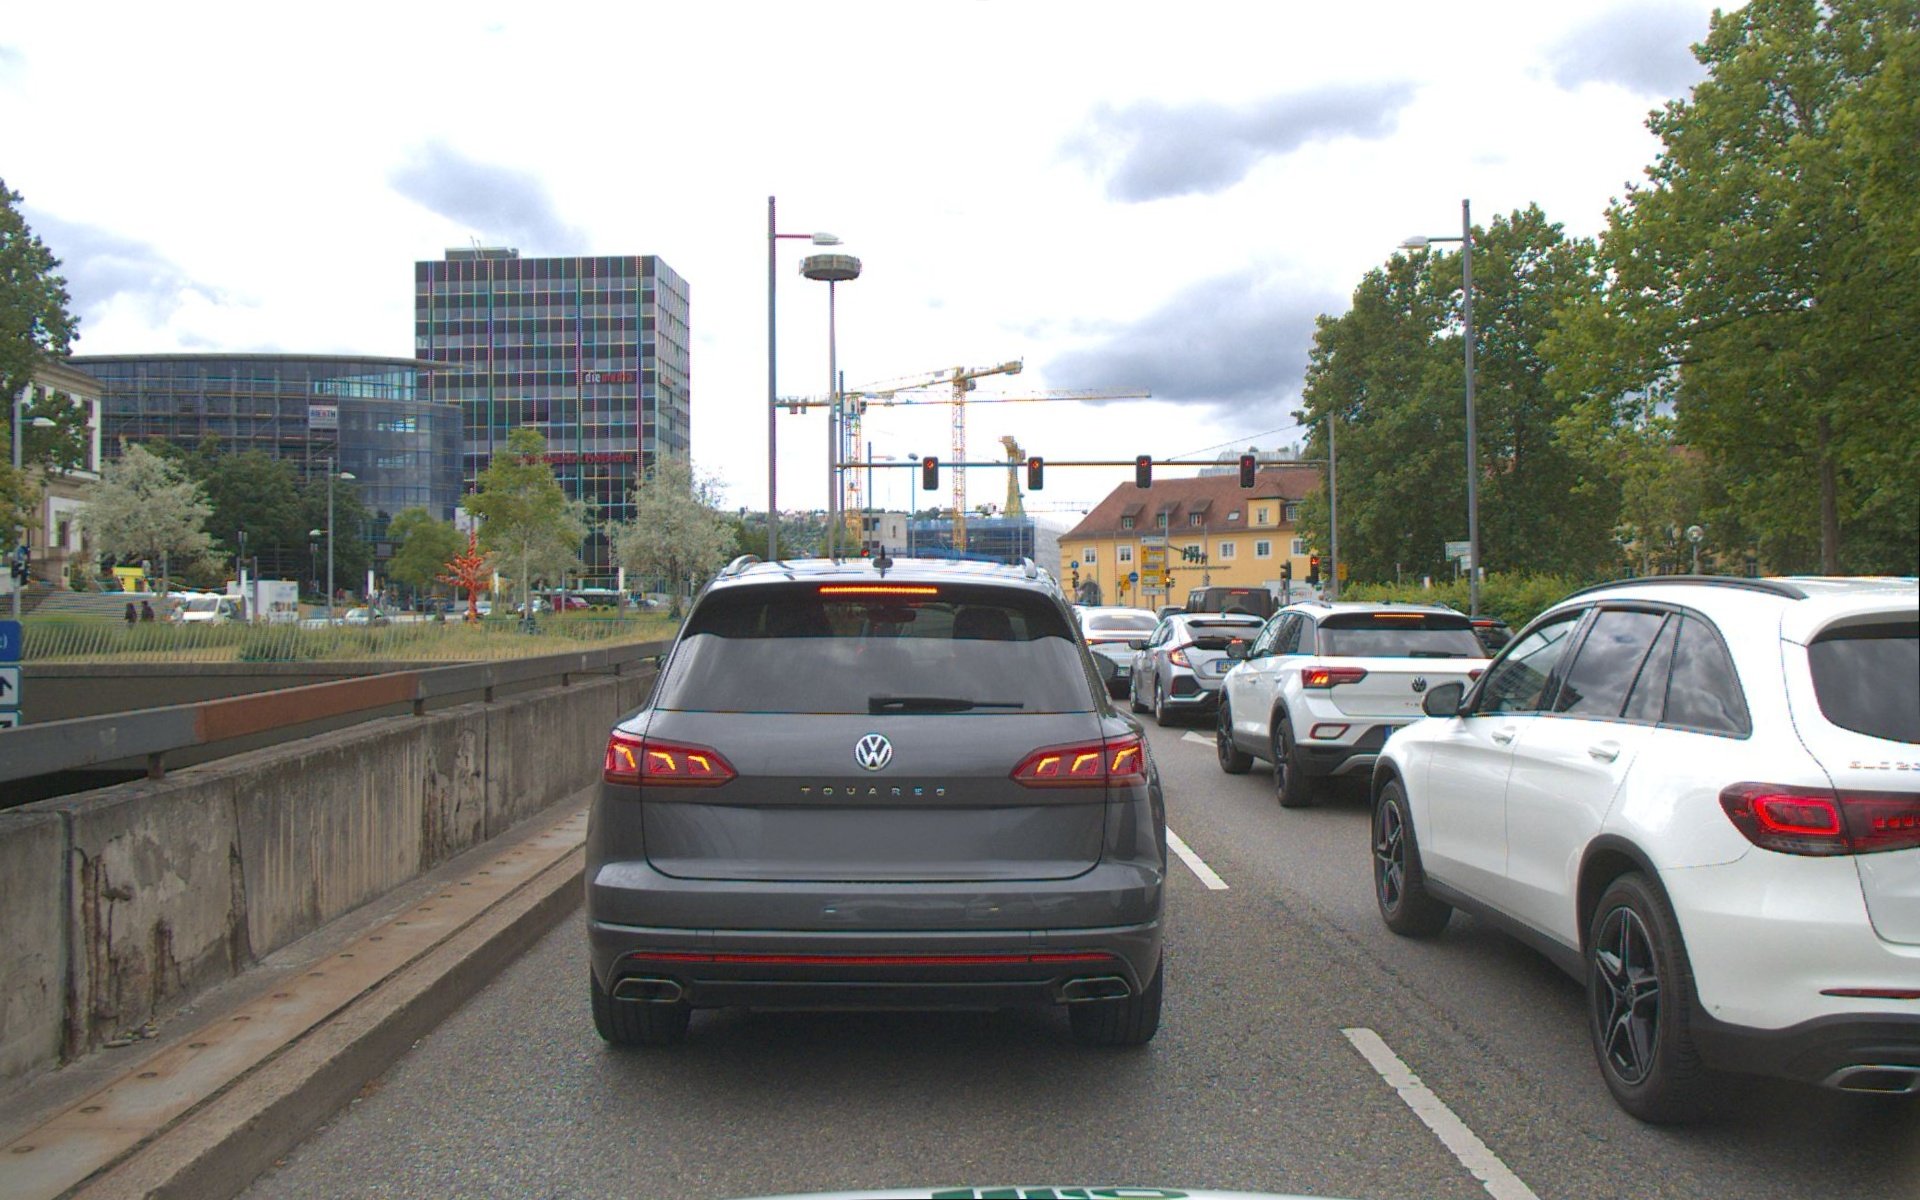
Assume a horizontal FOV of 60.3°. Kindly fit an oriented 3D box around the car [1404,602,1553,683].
[{"bbox_3d":[10.285,0.844,33.128,1.891,1.485,4.529,1,-1,5],"label":"car"}]

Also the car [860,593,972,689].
[{"bbox_3d":[-0.803,0.725,31.002,1.912,1.628,3.930,2,0,-1],"label":"car"}]

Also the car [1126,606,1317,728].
[{"bbox_3d":[3.383,0.838,22.236,1.887,1.457,4.489,0,-1,0],"label":"car"}]

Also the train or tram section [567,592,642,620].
[{"bbox_3d":[-40.602,0.692,188.760,8.750,3.062,2.593,1,-2,28],"label":"train or tram section"}]

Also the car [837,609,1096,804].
[{"bbox_3d":[0.018,0.811,14.385,1.912,1.408,3.930,2,0,-1],"label":"car"}]

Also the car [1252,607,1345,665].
[{"bbox_3d":[9.343,0.981,45.908,1.722,1.472,3.632,2,-1,-2],"label":"car"}]

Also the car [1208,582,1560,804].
[{"bbox_3d":[3.381,0.698,14.121,1.887,1.578,4.489,0,-1,0],"label":"car"}]

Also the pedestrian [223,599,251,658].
[{"bbox_3d":[-25.589,1.009,58.542,0.716,2.047,0.628,-1,4,-8],"label":"pedestrian"}]

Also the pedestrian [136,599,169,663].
[{"bbox_3d":[-26.410,1.008,54.101,0.777,2.049,0.833,-1,0,-15],"label":"pedestrian"}]

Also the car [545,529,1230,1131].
[{"bbox_3d":[-0.232,0.652,6.646,1.912,1.680,3.999,0,0,-1],"label":"car"}]

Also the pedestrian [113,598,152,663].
[{"bbox_3d":[-26.677,0.982,53.331,0.774,2.049,0.837,-1,0,2],"label":"pedestrian"}]

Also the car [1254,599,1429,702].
[{"bbox_3d":[6.632,0.826,29.233,1.953,1.668,4.302,0,0,-2],"label":"car"}]

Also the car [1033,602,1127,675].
[{"bbox_3d":[2.681,0.852,37.771,1.887,1.556,4.047,0,-1,0],"label":"car"}]

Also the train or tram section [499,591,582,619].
[{"bbox_3d":[-48.982,0.566,193.184,10.195,3.062,2.593,1,-2,28],"label":"train or tram section"}]

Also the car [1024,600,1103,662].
[{"bbox_3d":[2.702,0.820,44.059,1.887,1.556,4.047,0,-1,0],"label":"car"}]

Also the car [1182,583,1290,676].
[{"bbox_3d":[6.478,0.685,39.199,1.871,2.049,4.011,2,-1,0],"label":"car"}]

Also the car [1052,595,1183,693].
[{"bbox_3d":[2.666,0.738,28.951,1.887,1.556,4.489,0,-1,0],"label":"car"}]

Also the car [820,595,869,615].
[{"bbox_3d":[-10.063,0.436,144.146,4.142,1.631,1.746,1,-1,36],"label":"car"}]

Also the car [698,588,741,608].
[{"bbox_3d":[-26.255,-0.187,180.594,4.367,2.049,1.994,1,-2,33],"label":"car"}]

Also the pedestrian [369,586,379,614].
[{"bbox_3d":[-44.171,0.000,124.654,0.727,2.049,0.915,-1,1,-20],"label":"pedestrian"}]

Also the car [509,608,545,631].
[{"bbox_3d":[-30.992,1.412,118.504,1.697,1.521,3.592,2,-1,-3],"label":"car"}]

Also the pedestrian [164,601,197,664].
[{"bbox_3d":[-26.002,1.072,55.182,0.844,2.049,0.628,-1,1,-10],"label":"pedestrian"}]

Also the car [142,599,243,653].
[{"bbox_3d":[-31.378,1.019,67.796,1.953,2.048,4.692,0,1,0],"label":"car"}]

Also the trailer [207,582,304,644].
[{"bbox_3d":[-31.588,0.544,74.377,1.996,2.650,5.507,2,1,-1],"label":"trailer"}]

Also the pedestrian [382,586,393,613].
[{"bbox_3d":[-44.283,-0.033,128.034,0.726,2.049,0.789,-1,1,-16],"label":"pedestrian"}]

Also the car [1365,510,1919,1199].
[{"bbox_3d":[2.988,0.634,6.181,1.887,1.682,4.489,0,0,0],"label":"car"}]

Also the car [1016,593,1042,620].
[{"bbox_3d":[4.646,0.448,111.507,1.586,1.656,3.999,2,-1,0],"label":"car"}]

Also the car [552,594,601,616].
[{"bbox_3d":[-37.962,0.457,163.605,4.590,2.048,1.996,1,1,31],"label":"car"}]

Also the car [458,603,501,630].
[{"bbox_3d":[-29.669,1.039,102.131,1.697,1.521,3.592,2,-1,-3],"label":"car"}]

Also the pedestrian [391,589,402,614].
[{"bbox_3d":[-46.255,0.102,135.756,0.726,2.049,0.789,-1,1,-16],"label":"pedestrian"}]

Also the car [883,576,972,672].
[{"bbox_3d":[-0.759,0.534,38.538,1.912,2.053,3.930,2,0,-1],"label":"car"}]

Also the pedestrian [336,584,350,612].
[{"bbox_3d":[-46.021,-0.142,123.441,0.723,2.049,0.793,-1,1,0],"label":"pedestrian"}]
